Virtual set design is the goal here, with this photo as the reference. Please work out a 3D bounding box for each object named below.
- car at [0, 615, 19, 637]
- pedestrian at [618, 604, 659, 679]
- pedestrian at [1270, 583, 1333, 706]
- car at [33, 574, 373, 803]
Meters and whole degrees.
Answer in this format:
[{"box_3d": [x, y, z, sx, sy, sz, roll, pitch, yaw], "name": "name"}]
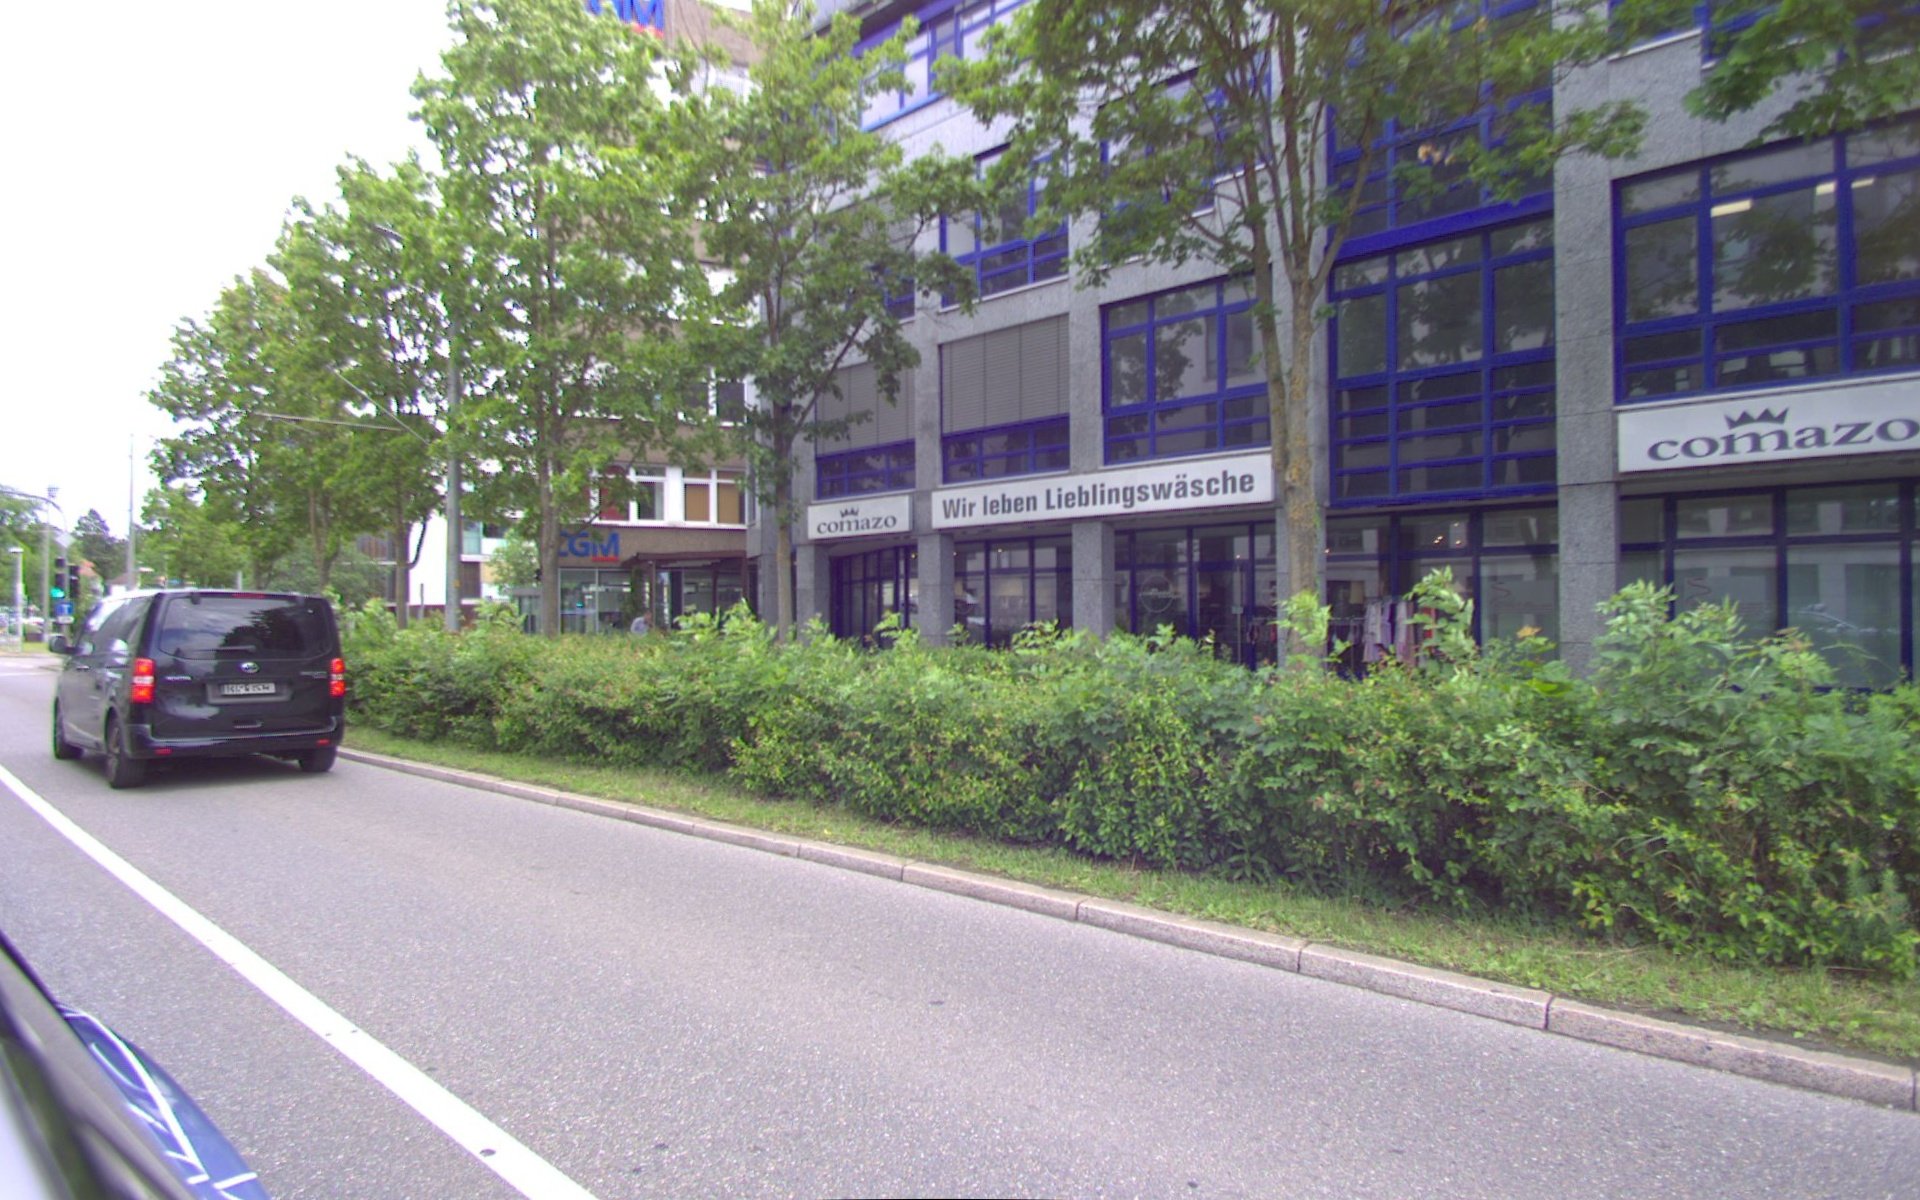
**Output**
[{"box_3d": [-90.089, 2.449, 94.658, 1.965, 2.029, 4.013, 0, 0, -25], "name": "car"}, {"box_3d": [-7.917, 1.006, 24.923, 0.730, 1.819, 0.672, -1, 0, 37], "name": "pedestrian"}, {"box_3d": [5.479, 0.691, 16.237, 0.731, 1.908, 0.766, -1, 0, 40], "name": "pedestrian"}, {"box_3d": [-8.366, 0.804, 11.010, 4.734, 1.962, 1.973, -1, -2, 41], "name": "car"}]
